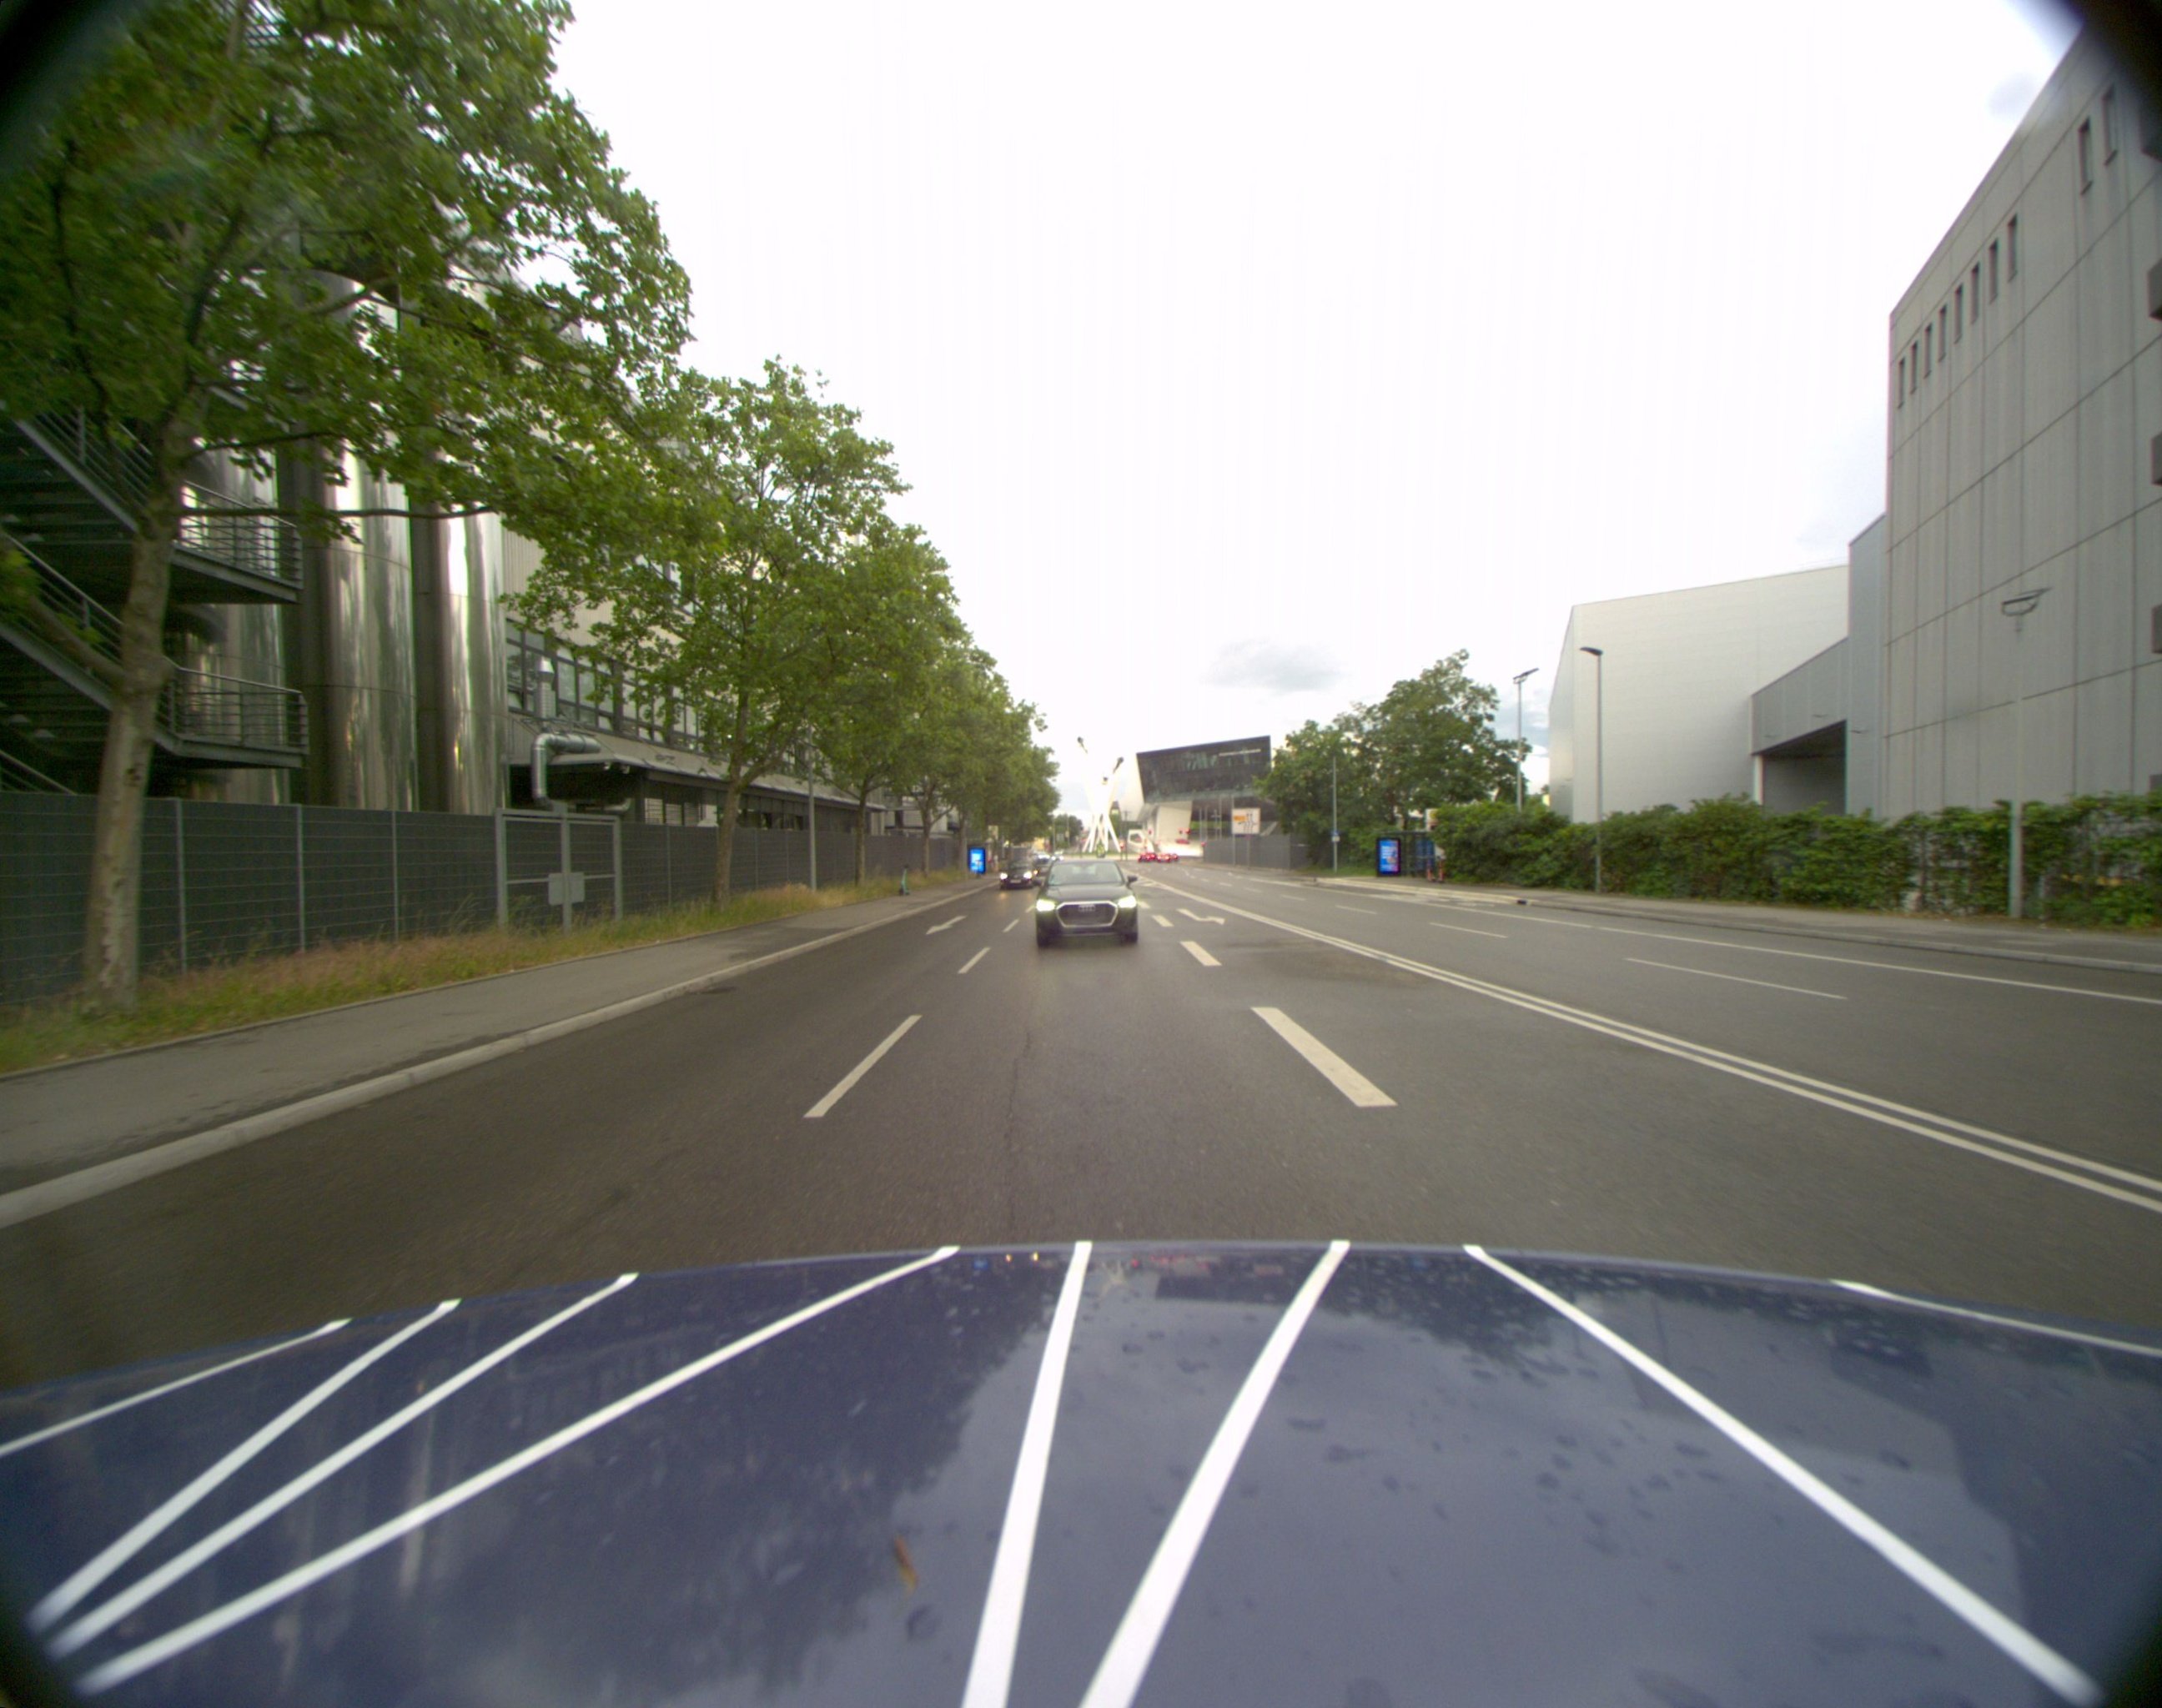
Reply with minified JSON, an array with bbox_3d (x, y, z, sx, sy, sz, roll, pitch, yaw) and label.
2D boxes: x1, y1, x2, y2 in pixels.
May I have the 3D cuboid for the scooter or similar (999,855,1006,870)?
[{"bbox_3d":[-6.974,0.738,67.383,0.437,1.288,1.300,-1,1,3],"label":"scooter or similar"}]

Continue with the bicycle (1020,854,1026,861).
[{"bbox_3d":[-8.000,0.453,105.336,0.727,0.870,1.904,-2,1,-1],"label":"bicycle"}]

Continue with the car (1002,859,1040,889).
[{"bbox_3d":[-3.104,1.004,39.859,1.881,1.485,4.075,0,0,-3],"label":"car"}]

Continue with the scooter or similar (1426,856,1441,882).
[{"bbox_3d":[16.506,0.686,35.585,0.389,1.173,1.251,-1,1,14],"label":"scooter or similar"}]

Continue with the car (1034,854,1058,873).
[{"bbox_3d":[-2.857,0.762,62.530,1.842,1.444,4.785,-2,0,-1],"label":"car"}]

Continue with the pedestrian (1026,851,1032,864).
[{"bbox_3d":[-6.442,0.435,93.874,0.723,1.610,0.833,1,1,-1],"label":"pedestrian"}]

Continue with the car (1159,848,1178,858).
[{"bbox_3d":[13.577,-0.235,117.669,2.267,1.469,4.052,-1,1,18],"label":"car"}]

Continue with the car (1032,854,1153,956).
[{"bbox_3d":[0.137,0.842,15.296,1.951,1.609,5.276,-2,0,-1],"label":"car"}]

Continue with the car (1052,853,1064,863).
[{"bbox_3d":[-3.713,0.600,121.880,1.951,1.610,4.072,0,0,-1],"label":"car"}]

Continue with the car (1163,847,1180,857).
[{"bbox_3d":[14.899,-0.350,124.722,1.862,1.641,3.792,-1,0,19],"label":"car"}]

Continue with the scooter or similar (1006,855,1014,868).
[{"bbox_3d":[-6.784,0.722,72.895,0.437,1.288,1.367,-1,1,7],"label":"scooter or similar"}]

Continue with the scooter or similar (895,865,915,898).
[{"bbox_3d":[-6.945,1.067,30.000,0.329,1.262,1.109,-1,1,9],"label":"scooter or similar"}]

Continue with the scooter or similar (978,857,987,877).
[{"bbox_3d":[-6.812,0.901,52.410,0.329,1.301,1.246,-1,1,5],"label":"scooter or similar"}]

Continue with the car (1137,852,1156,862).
[{"bbox_3d":[10.371,0.427,119.928,2.255,1.469,3.884,-1,1,18],"label":"car"}]

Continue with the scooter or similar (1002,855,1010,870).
[{"bbox_3d":[-6.800,0.751,68.801,0.437,1.288,1.300,-1,1,3],"label":"scooter or similar"}]

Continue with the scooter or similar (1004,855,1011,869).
[{"bbox_3d":[-6.896,0.739,70.937,0.437,1.288,1.300,-1,1,3],"label":"scooter or similar"}]

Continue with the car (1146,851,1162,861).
[{"bbox_3d":[11.956,0.300,124.902,1.878,1.641,3.857,-1,0,16],"label":"car"}]

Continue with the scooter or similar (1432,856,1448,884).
[{"bbox_3d":[16.184,0.708,34.254,0.379,1.174,1.379,-1,1,14],"label":"scooter or similar"}]

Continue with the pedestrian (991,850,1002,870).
[{"bbox_3d":[-7.260,0.528,65.145,0.778,1.700,0.729,-1,1,0],"label":"pedestrian"}]
